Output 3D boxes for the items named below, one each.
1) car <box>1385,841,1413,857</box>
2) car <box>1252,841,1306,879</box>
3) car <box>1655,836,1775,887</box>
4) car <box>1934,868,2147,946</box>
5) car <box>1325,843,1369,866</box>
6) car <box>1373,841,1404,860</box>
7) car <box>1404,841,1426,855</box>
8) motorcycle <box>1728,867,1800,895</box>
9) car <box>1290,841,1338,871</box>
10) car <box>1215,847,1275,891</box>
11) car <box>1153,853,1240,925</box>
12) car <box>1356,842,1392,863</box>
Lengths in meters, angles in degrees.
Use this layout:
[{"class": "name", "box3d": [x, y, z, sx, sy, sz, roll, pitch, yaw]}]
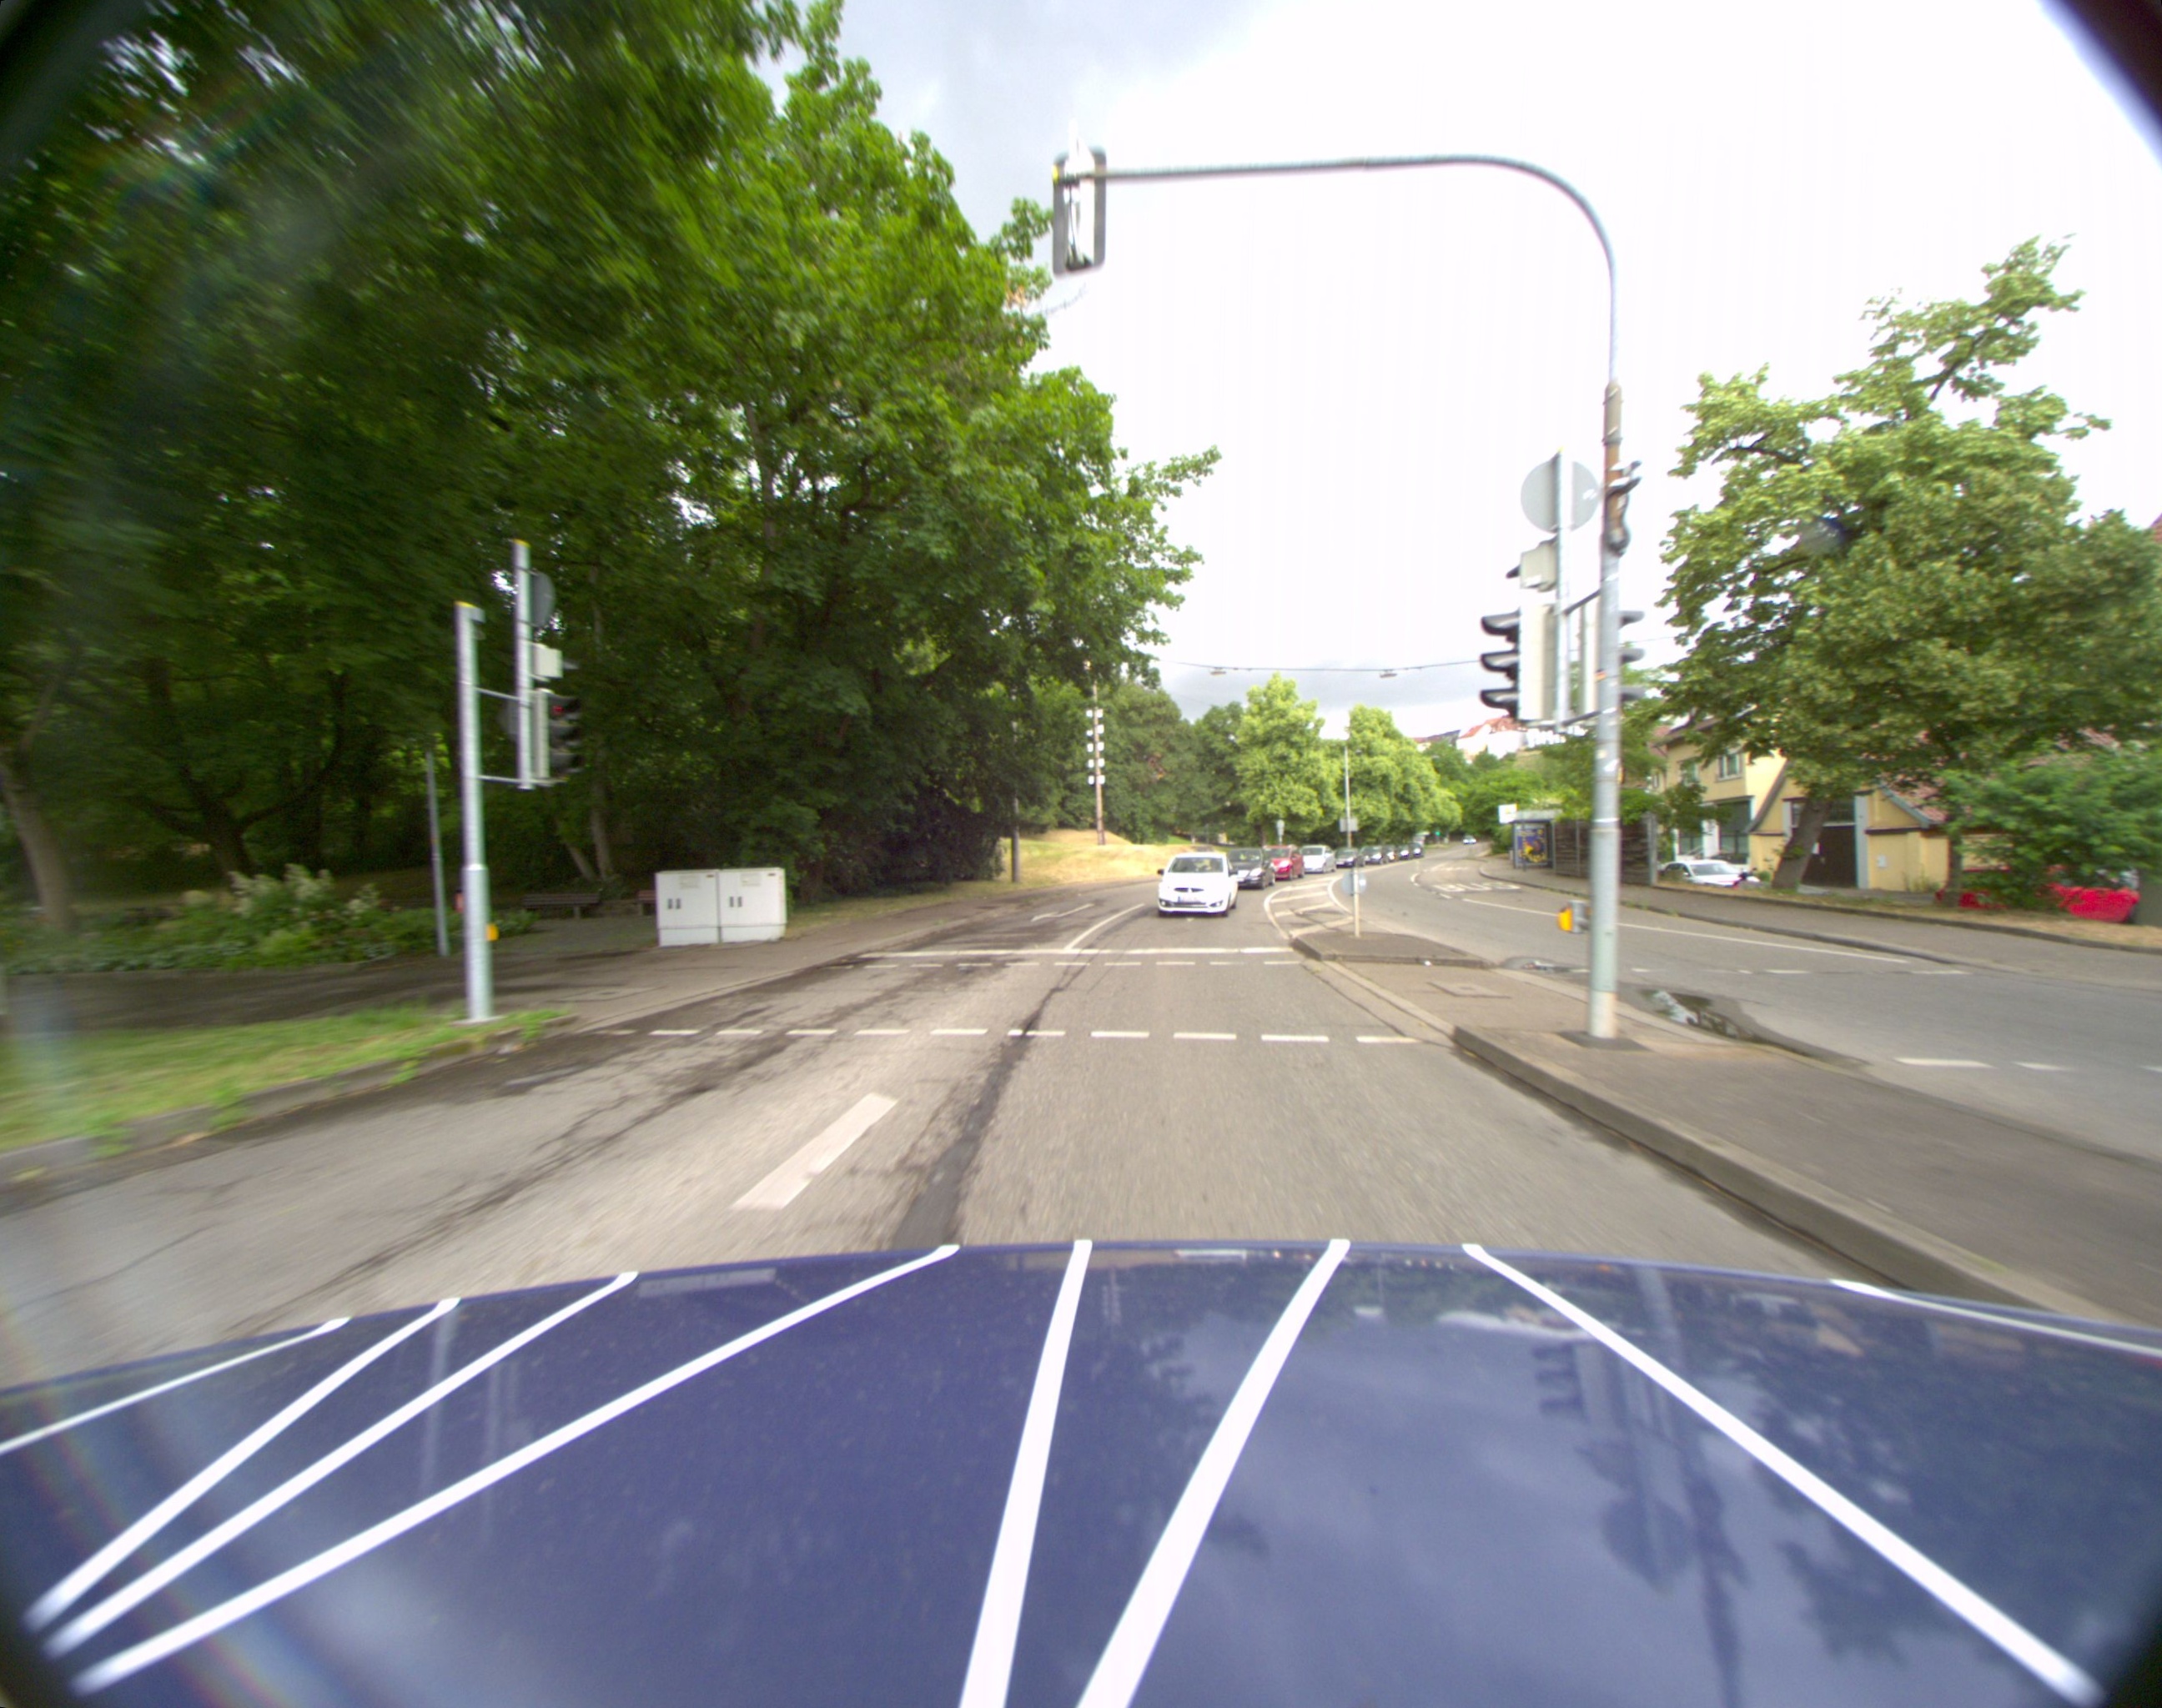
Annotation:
[{"class": "car", "box3d": [28.088, -0.448, 67.079, 1.641, 1.262, 3.632, 0, 1, 33]}, {"class": "car", "box3d": [9.311, 0.260, 35.580, 1.672, 1.632, 4.107, -1, 1, 26]}, {"class": "car", "box3d": [21.872, 0.220, 26.427, 1.897, 1.618, 4.005, -1, 1, 19]}, {"class": "car", "box3d": [20.061, 1.040, 15.908, 3.632, 1.346, 1.597, -2, 1, -18]}, {"class": "car", "box3d": [17.916, 0.034, 51.140, 1.850, 1.449, 4.007, 0, 1, 33]}, {"class": "car", "box3d": [25.303, -0.287, 62.479, 1.703, 1.438, 3.874, 0, 1, 33]}, {"class": "car", "box3d": [31.915, -0.608, 72.628, 1.417, 1.242, 3.302, 0, 1, 33]}, {"class": "motorcycle", "box3d": [20.552, 0.822, 22.884, 1.580, 0.819, 0.419, -1, 1, 20]}, {"class": "car", "box3d": [13.250, 0.099, 43.150, 1.779, 1.560, 4.007, -1, 1, 29]}, {"class": "car", "box3d": [6.396, 0.529, 29.388, 1.728, 1.512, 4.005, -1, 1, 20]}, {"class": "car", "box3d": [2.942, 0.784, 18.727, 1.626, 1.499, 4.004, -2, 1, 15]}, {"class": "car", "box3d": [21.910, -0.125, 56.755, 1.693, 1.403, 3.989, 0, 1, 33]}]
